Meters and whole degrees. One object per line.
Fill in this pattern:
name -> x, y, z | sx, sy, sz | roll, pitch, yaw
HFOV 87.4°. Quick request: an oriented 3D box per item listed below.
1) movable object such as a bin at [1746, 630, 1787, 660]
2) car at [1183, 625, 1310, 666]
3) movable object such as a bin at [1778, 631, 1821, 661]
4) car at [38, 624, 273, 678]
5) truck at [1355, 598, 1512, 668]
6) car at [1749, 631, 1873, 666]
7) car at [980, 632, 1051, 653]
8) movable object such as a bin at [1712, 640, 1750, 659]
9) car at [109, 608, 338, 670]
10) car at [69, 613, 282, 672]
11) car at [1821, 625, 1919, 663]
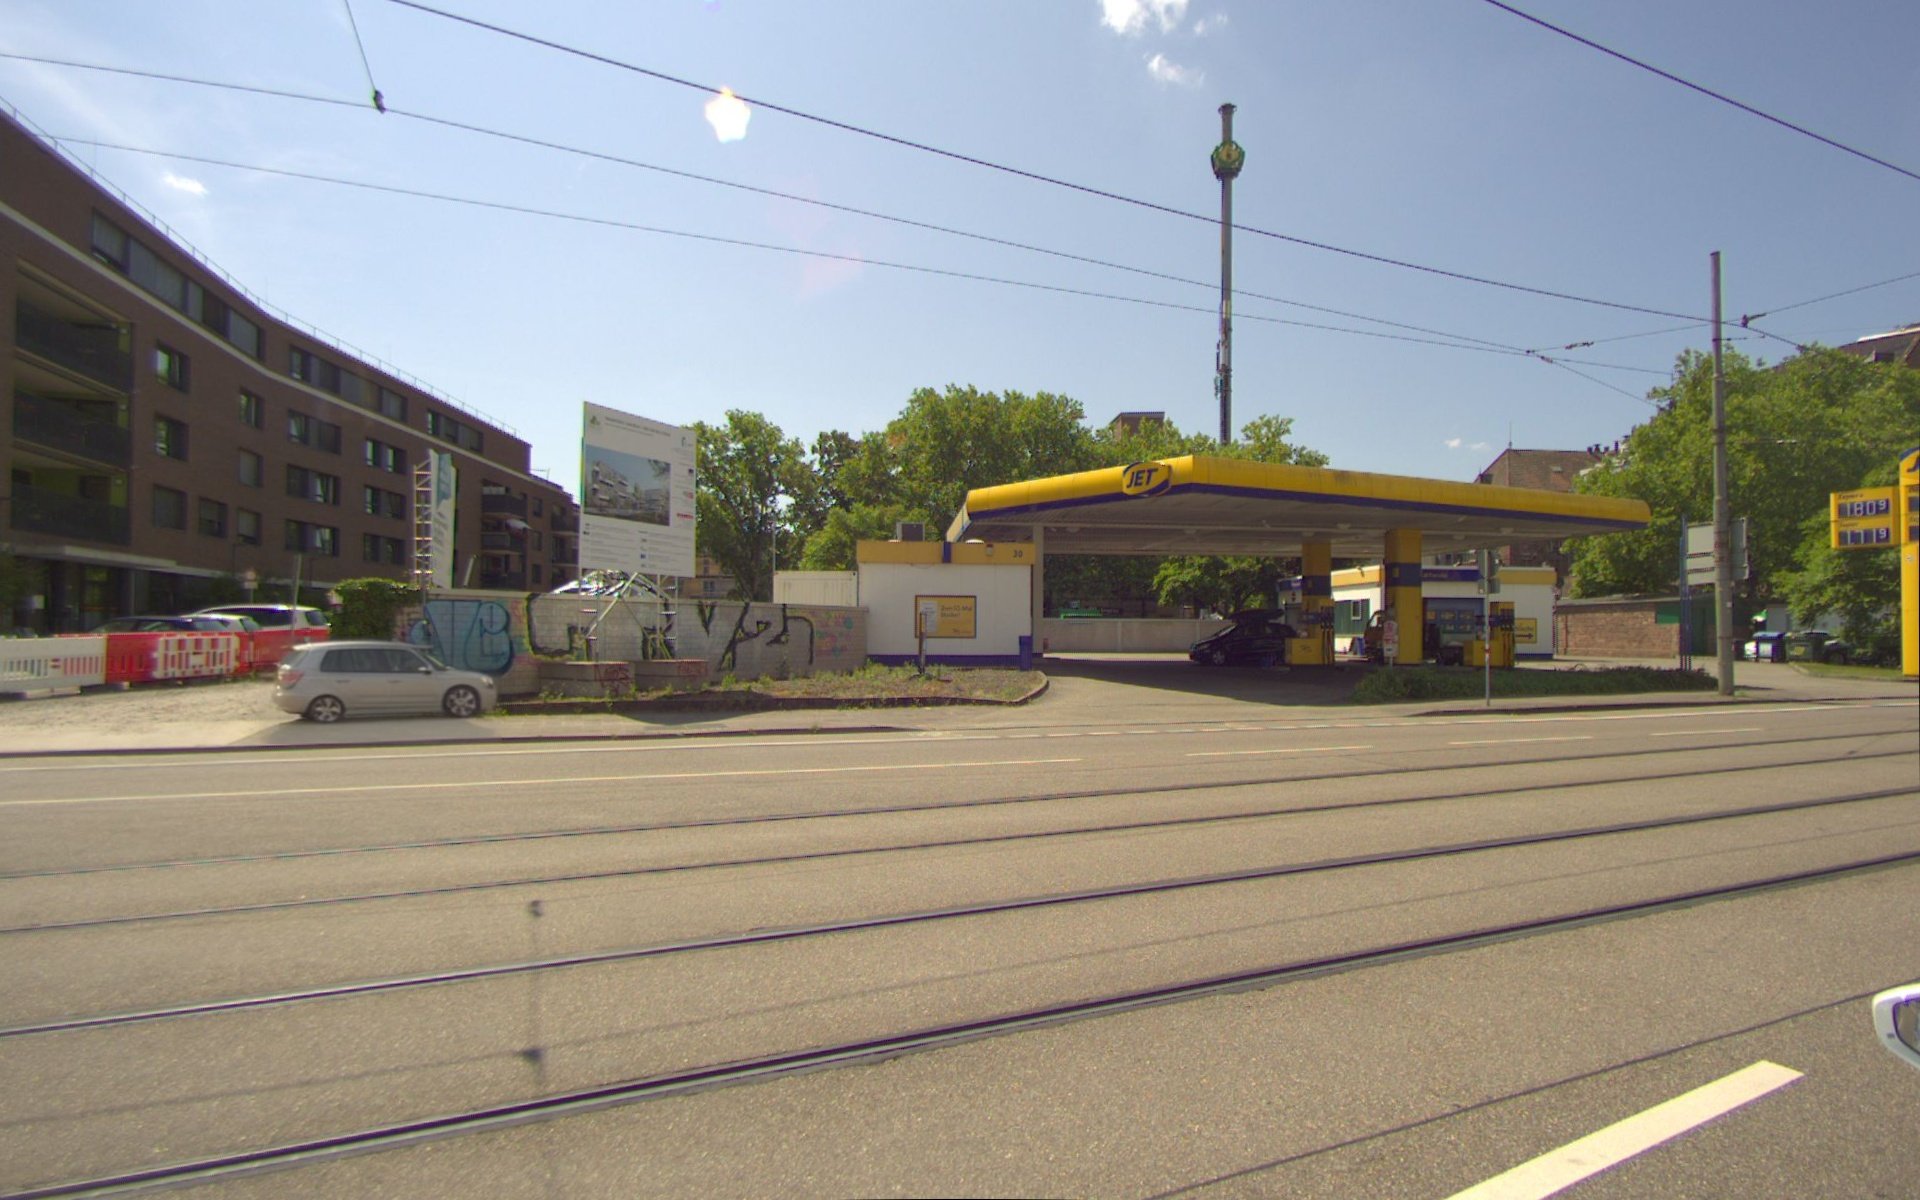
movable object such as a bin -> 38.103, 2.108, 47.477 | 0.746, 1.372, 1.344 | 1, -2, -16
car -> 10.848, 1.734, 38.257 | 4.256, 1.498, 2.000 | 0, -2, 0
movable object such as a bin -> 38.141, 2.079, 45.641 | 0.749, 1.372, 1.338 | 1, -2, -30
car -> -18.825, 1.183, 23.671 | 3.925, 1.176, 1.826 | 1, 0, -7
truck -> 18.226, 1.273, 38.847 | 5.099, 2.531, 2.001 | 1, -1, 2
car -> 41.838, 2.377, 49.510 | 4.247, 1.613, 1.911 | 0, -1, 19
car -> 3.224, 2.483, 58.745 | 3.927, 1.226, 1.756 | 1, -2, -9
movable object such as a bin -> 37.867, 2.421, 49.370 | 0.744, 0.885, 1.347 | 1, -2, -8
car -> -20.718, 1.105, 28.537 | 4.761, 1.672, 2.114 | 1, -2, -18
car -> -20.092, 1.097, 25.909 | 3.936, 1.439, 1.669 | 1, -2, -17
car -> 40.879, 1.927, 44.052 | 4.246, 1.611, 2.001 | 0, -2, 16
